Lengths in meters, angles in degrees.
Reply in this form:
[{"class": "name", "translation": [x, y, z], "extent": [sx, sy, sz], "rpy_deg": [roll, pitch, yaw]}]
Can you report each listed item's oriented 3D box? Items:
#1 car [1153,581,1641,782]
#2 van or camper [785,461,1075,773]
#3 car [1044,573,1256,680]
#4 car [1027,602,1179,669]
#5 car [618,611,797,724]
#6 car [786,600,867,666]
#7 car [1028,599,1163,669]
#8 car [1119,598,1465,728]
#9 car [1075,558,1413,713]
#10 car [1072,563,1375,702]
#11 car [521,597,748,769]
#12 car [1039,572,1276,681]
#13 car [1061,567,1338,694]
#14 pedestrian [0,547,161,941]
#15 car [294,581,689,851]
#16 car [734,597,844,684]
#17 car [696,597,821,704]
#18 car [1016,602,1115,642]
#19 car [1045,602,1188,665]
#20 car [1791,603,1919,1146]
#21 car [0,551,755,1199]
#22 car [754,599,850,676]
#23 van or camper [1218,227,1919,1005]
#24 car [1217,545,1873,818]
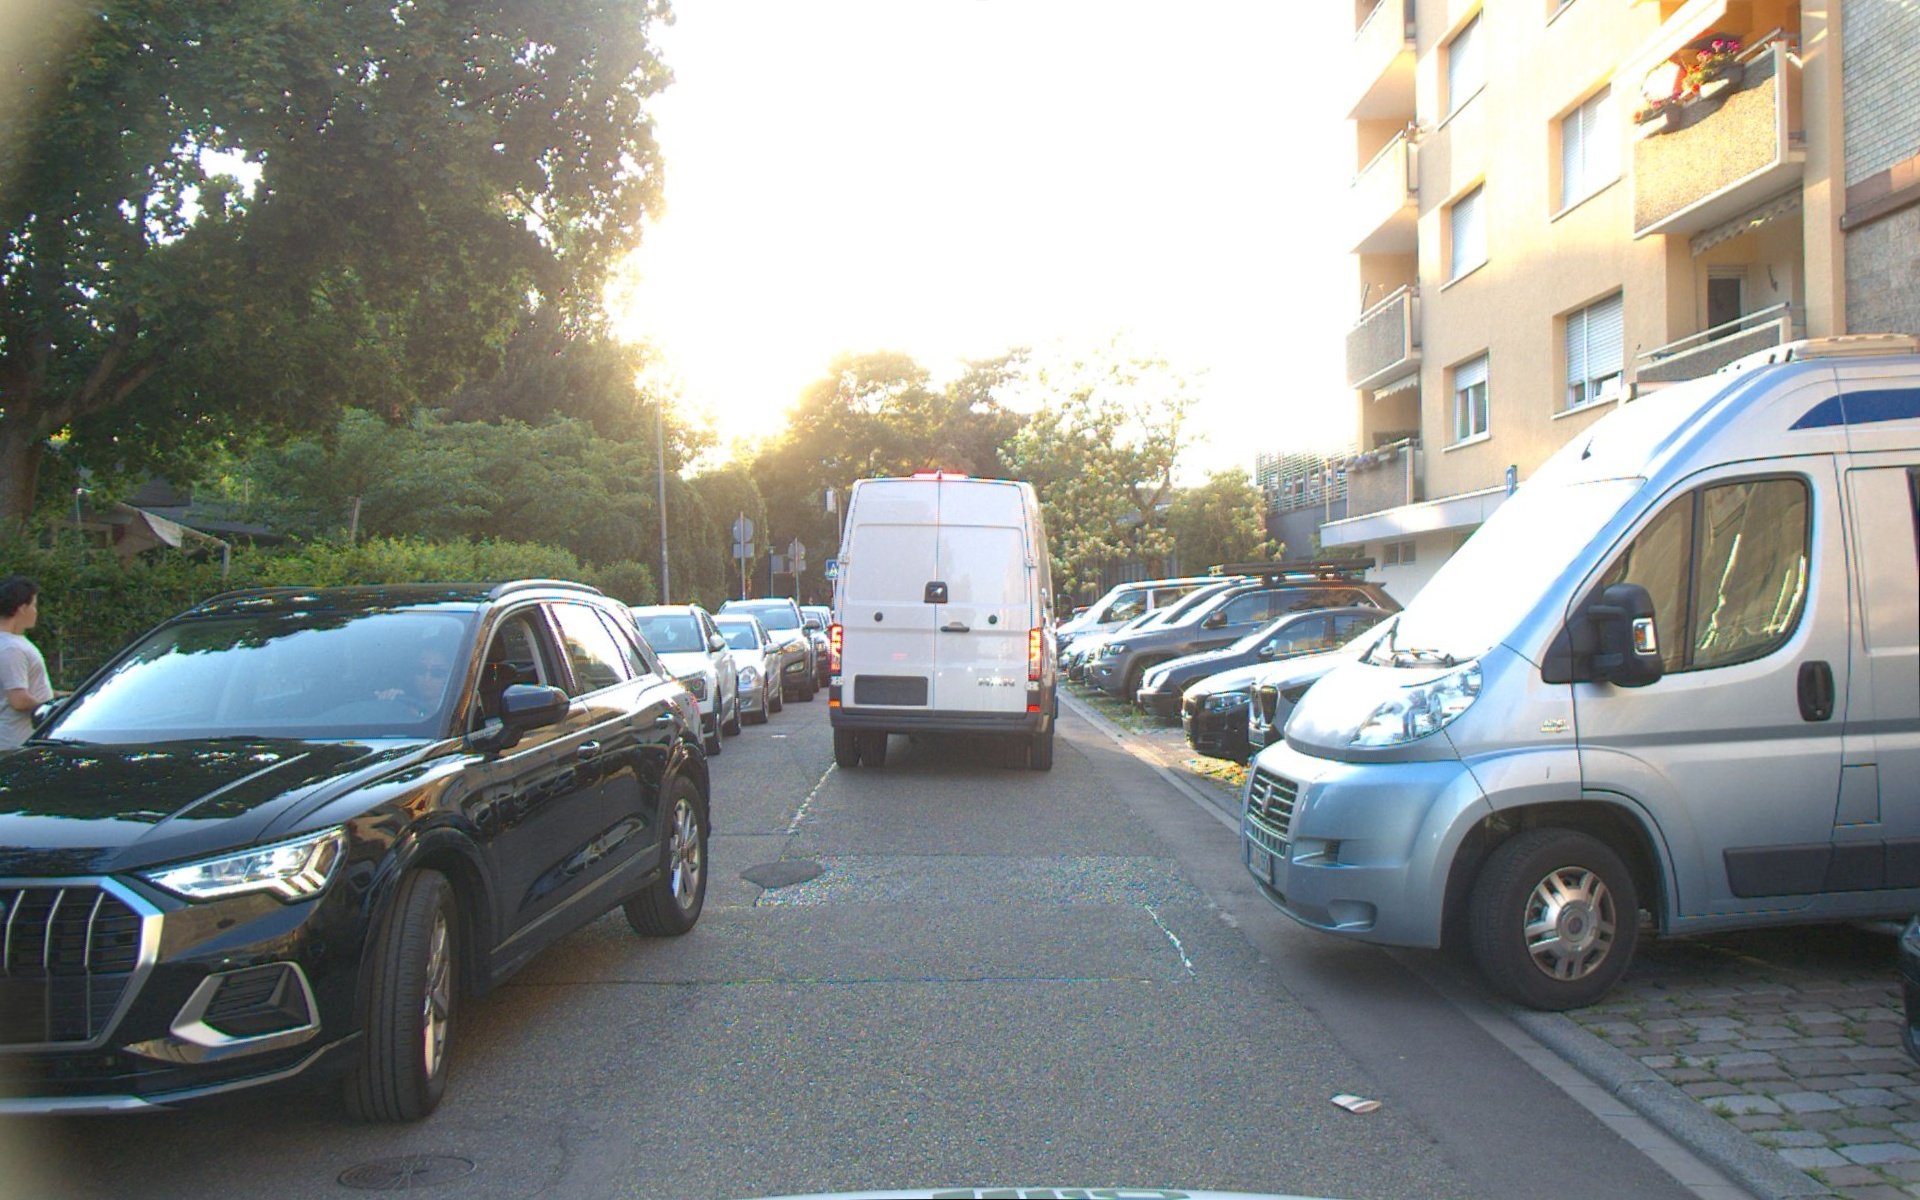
[{"class": "car", "translation": [3.929, 0.702, 15.281], "extent": [3.910, 1.479, 1.833], "rpy_deg": [-4, 0, -5]}, {"class": "van or camper", "translation": [-0.050, 0.147, 17.001], "extent": [2.402, 2.591, 6.086], "rpy_deg": [1, 0, 4]}, {"class": "car", "translation": [4.111, 0.577, 36.371], "extent": [4.405, 2.269, 2.031], "rpy_deg": [0, 0, -1]}, {"class": "car", "translation": [3.772, 0.928, 44.230], "extent": [3.905, 1.758, 2.000], "rpy_deg": [0, 0, 0]}, {"class": "car", "translation": [-3.408, 0.877, 23.061], "extent": [1.953, 1.422, 3.999], "rpy_deg": [0, 0, -1]}, {"class": "car", "translation": [-3.453, 0.842, 43.521], "extent": [1.953, 1.646, 3.998], "rpy_deg": [0, 0, -2]}, {"class": "car", "translation": [4.015, 0.991, 49.592], "extent": [3.904, 2.049, 2.000], "rpy_deg": [0, 0, 1]}, {"class": "car", "translation": [4.282, 0.800, 21.756], "extent": [4.151, 1.450, 1.719], "rpy_deg": [-3, 0, -2]}, {"class": "car", "translation": [4.100, 0.500, 24.385], "extent": [4.611, 2.183, 1.999], "rpy_deg": [0, 0, -2]}, {"class": "car", "translation": [4.237, 0.511, 27.083], "extent": [4.611, 2.183, 1.999], "rpy_deg": [0, 0, -2]}, {"class": "car", "translation": [-3.391, 0.805, 17.963], "extent": [1.819, 1.582, 4.097], "rpy_deg": [-2, 0, -3]}, {"class": "car", "translation": [4.016, 0.533, 34.184], "extent": [4.611, 2.183, 1.999], "rpy_deg": [0, 0, -2]}, {"class": "car", "translation": [4.195, 0.519, 29.509], "extent": [4.611, 2.183, 1.999], "rpy_deg": [0, 0, -2]}, {"class": "pedestrian", "translation": [-4.631, 0.684, 8.232], "extent": [0.919, 1.862, 0.786], "rpy_deg": [0, -1, -2]}, {"class": "car", "translation": [-3.369, 0.761, 12.734], "extent": [1.746, 1.659, 4.001], "rpy_deg": [-3, 0, 1]}, {"class": "car", "translation": [-3.396, 0.781, 33.491], "extent": [1.953, 1.646, 3.998], "rpy_deg": [0, 0, -2]}, {"class": "car", "translation": [-3.368, 0.810, 28.284], "extent": [1.954, 1.691, 3.996], "rpy_deg": [0, 0, -5]}, {"class": "car", "translation": [4.414, 0.913, 69.552], "extent": [3.908, 1.646, 1.998], "rpy_deg": [0, 0, -4]}, {"class": "car", "translation": [4.441, 0.952, 47.278], "extent": [3.905, 1.758, 2.000], "rpy_deg": [0, 0, 0]}, {"class": "car", "translation": [4.563, 0.651, 4.277], "extent": [3.854, 1.512, 1.787], "rpy_deg": [-3, -2, 0]}, {"class": "car", "translation": [-2.183, 0.719, 6.119], "extent": [1.766, 1.597, 4.568], "rpy_deg": [-1, 0, 7]}, {"class": "car", "translation": [-3.554, 0.818, 37.801], "extent": [1.953, 1.646, 3.998], "rpy_deg": [0, 0, -2]}, {"class": "van or camper", "translation": [4.189, 0.069, 7.141], "extent": [5.809, 2.818, 2.109], "rpy_deg": [0, -1, -2]}, {"class": "car", "translation": [4.335, 0.560, 12.595], "extent": [4.350, 1.758, 1.770], "rpy_deg": [-2, 0, -7]}]
